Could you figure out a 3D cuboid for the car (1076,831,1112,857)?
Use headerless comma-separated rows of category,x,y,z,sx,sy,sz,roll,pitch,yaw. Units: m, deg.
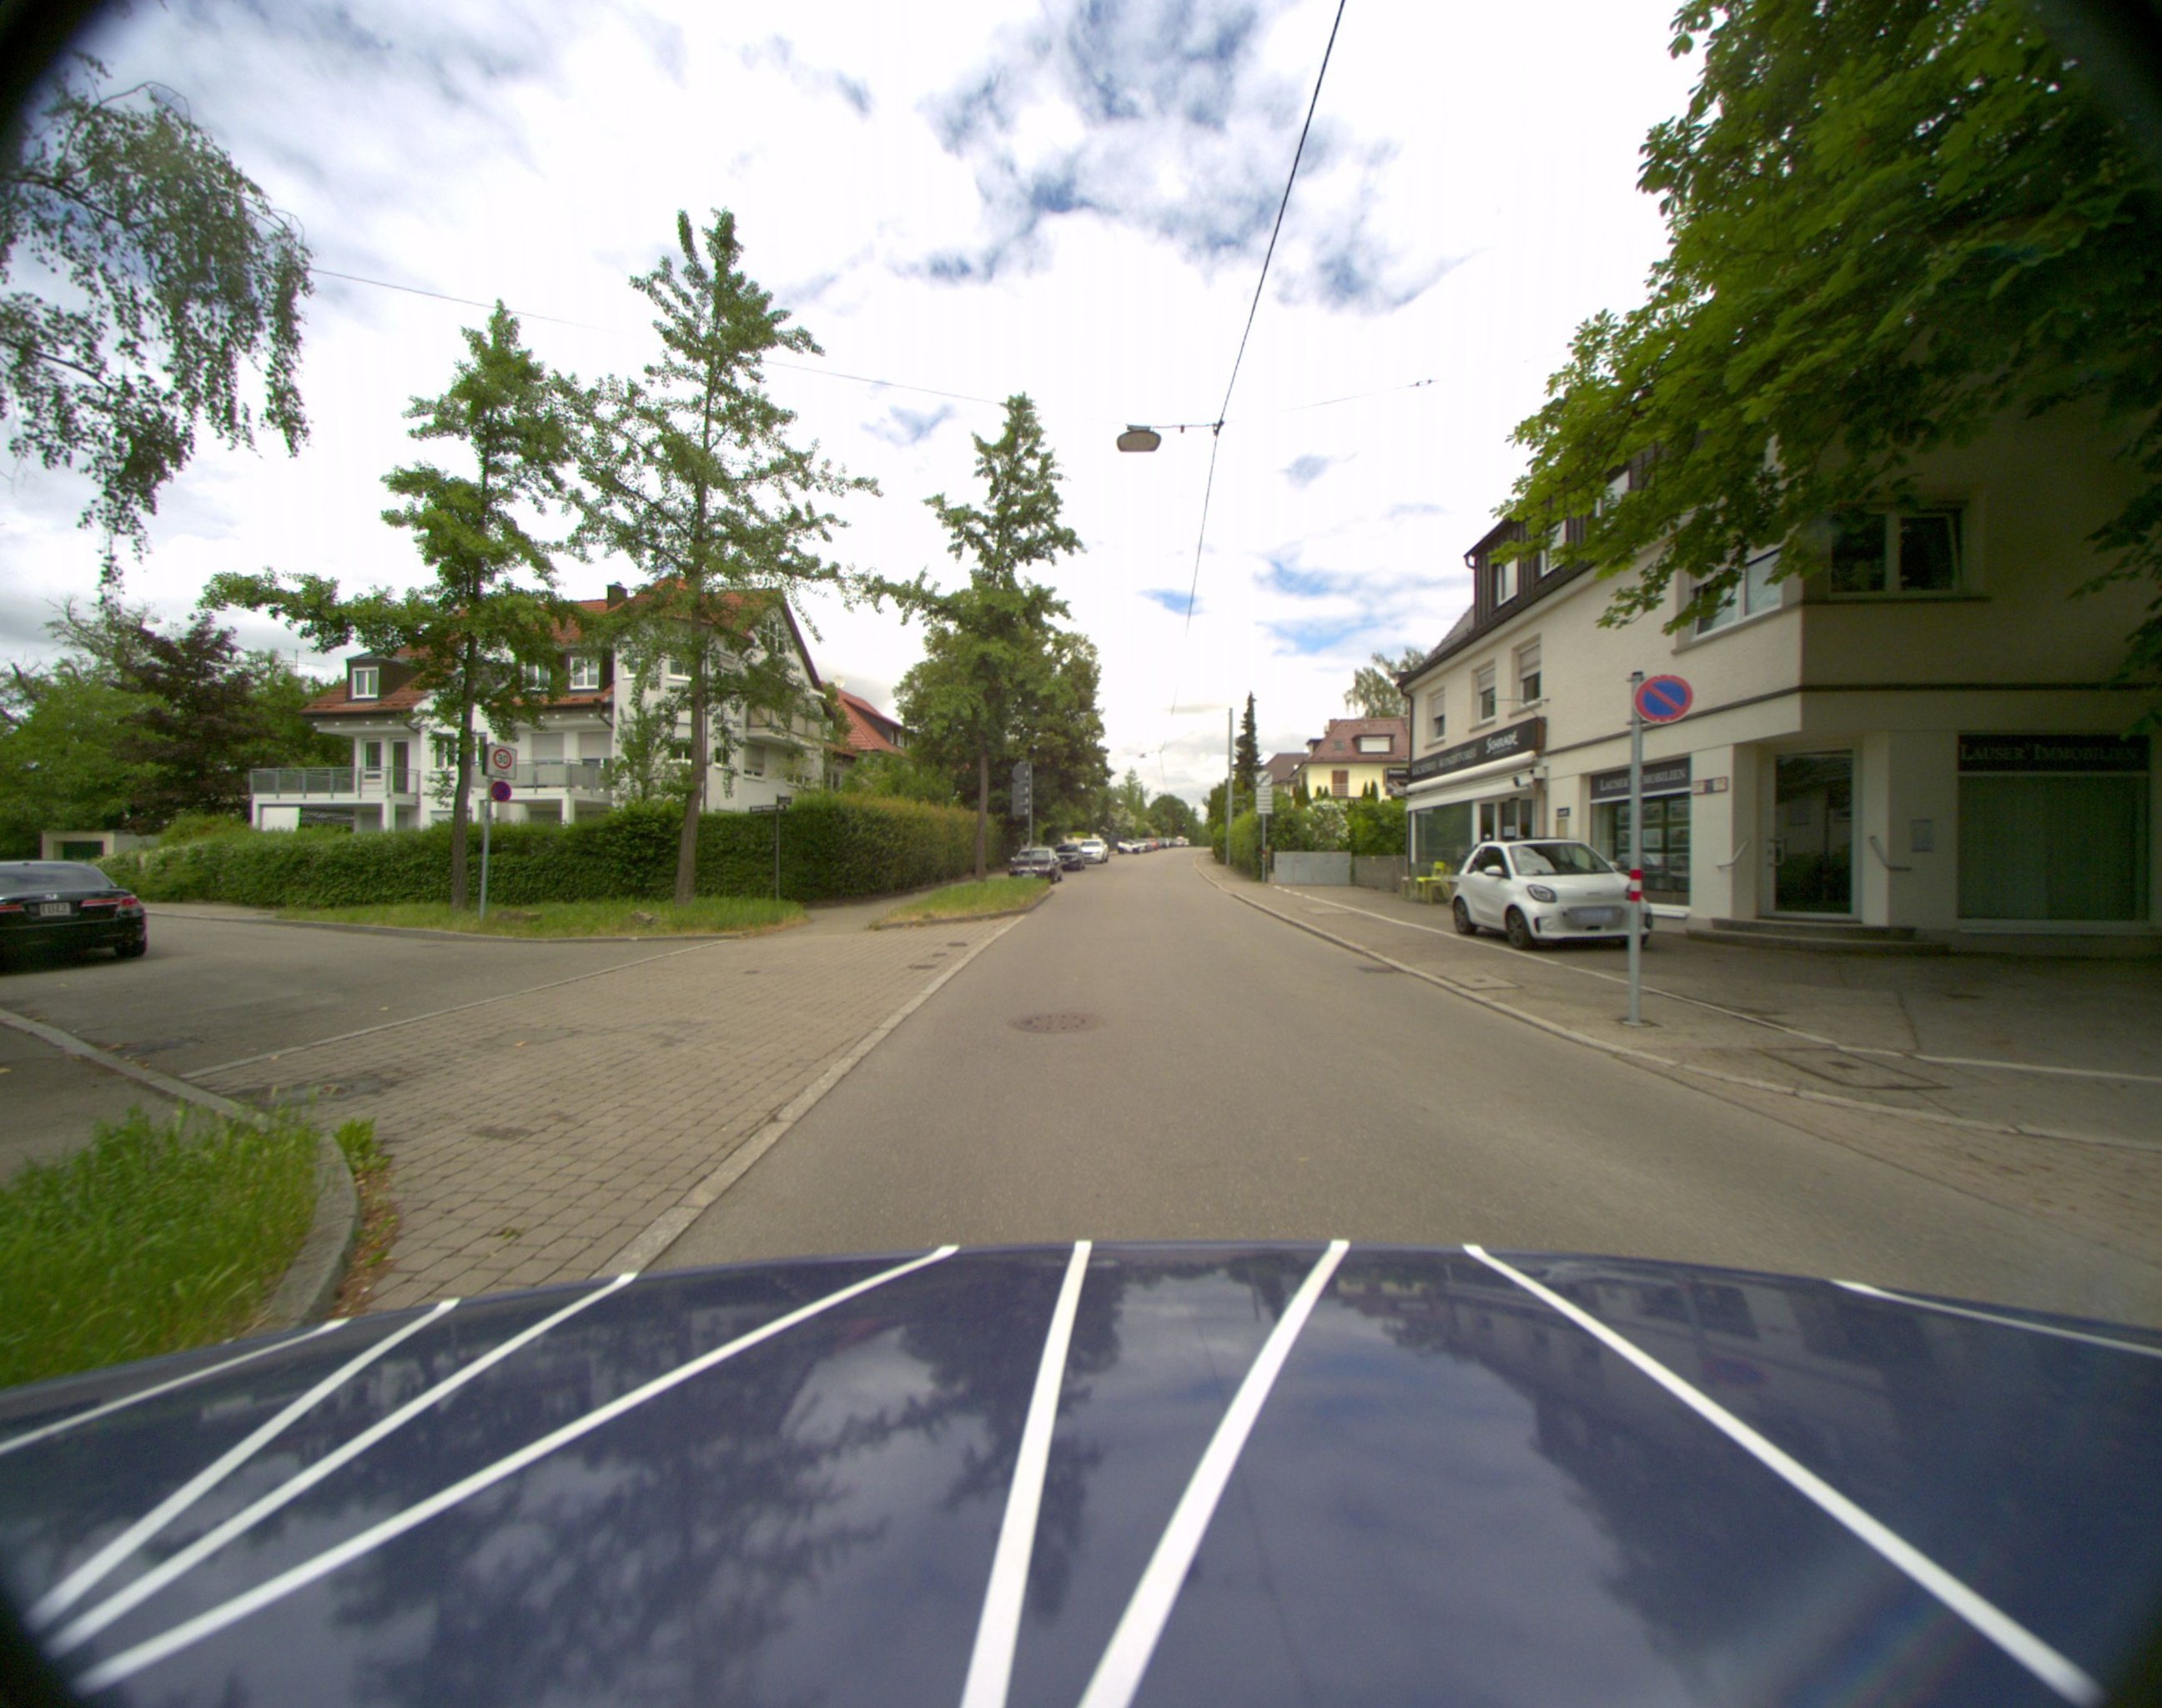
car,0.940,-0.722,51.911,1.869,1.676,4.351,-1,2,9

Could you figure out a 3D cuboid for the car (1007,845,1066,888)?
car,-1.674,0.445,29.848,1.713,1.405,3.790,-2,2,5

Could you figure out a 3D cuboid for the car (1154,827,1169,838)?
car,11.860,-3.170,111.541,1.953,1.617,4.377,-2,2,9

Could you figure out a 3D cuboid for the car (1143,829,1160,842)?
car,9.126,-2.424,98.464,1.853,1.617,4.171,-1,2,10

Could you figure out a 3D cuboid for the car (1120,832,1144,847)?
car,5.245,-1.513,77.934,2.290,1.515,1.319,0,2,16

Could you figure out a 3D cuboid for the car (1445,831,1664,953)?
car,6.875,0.471,11.379,1.592,1.529,2.924,-3,1,5

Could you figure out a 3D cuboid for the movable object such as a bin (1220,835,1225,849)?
movable object such as a bin,9.495,-0.791,51.006,0.337,0.889,0.476,-1,2,11

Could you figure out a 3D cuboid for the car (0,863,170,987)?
car,-15.388,0.926,11.011,4.449,1.456,1.871,0,4,29

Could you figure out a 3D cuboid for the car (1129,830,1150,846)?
car,6.646,-1.836,86.179,1.832,1.614,4.494,-1,2,11

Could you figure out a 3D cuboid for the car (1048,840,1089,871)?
car,-0.609,0.043,40.805,1.713,1.479,3.790,-1,2,6

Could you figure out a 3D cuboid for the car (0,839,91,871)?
car,-48.974,0.023,35.413,1.362,1.442,3.186,0,2,24
